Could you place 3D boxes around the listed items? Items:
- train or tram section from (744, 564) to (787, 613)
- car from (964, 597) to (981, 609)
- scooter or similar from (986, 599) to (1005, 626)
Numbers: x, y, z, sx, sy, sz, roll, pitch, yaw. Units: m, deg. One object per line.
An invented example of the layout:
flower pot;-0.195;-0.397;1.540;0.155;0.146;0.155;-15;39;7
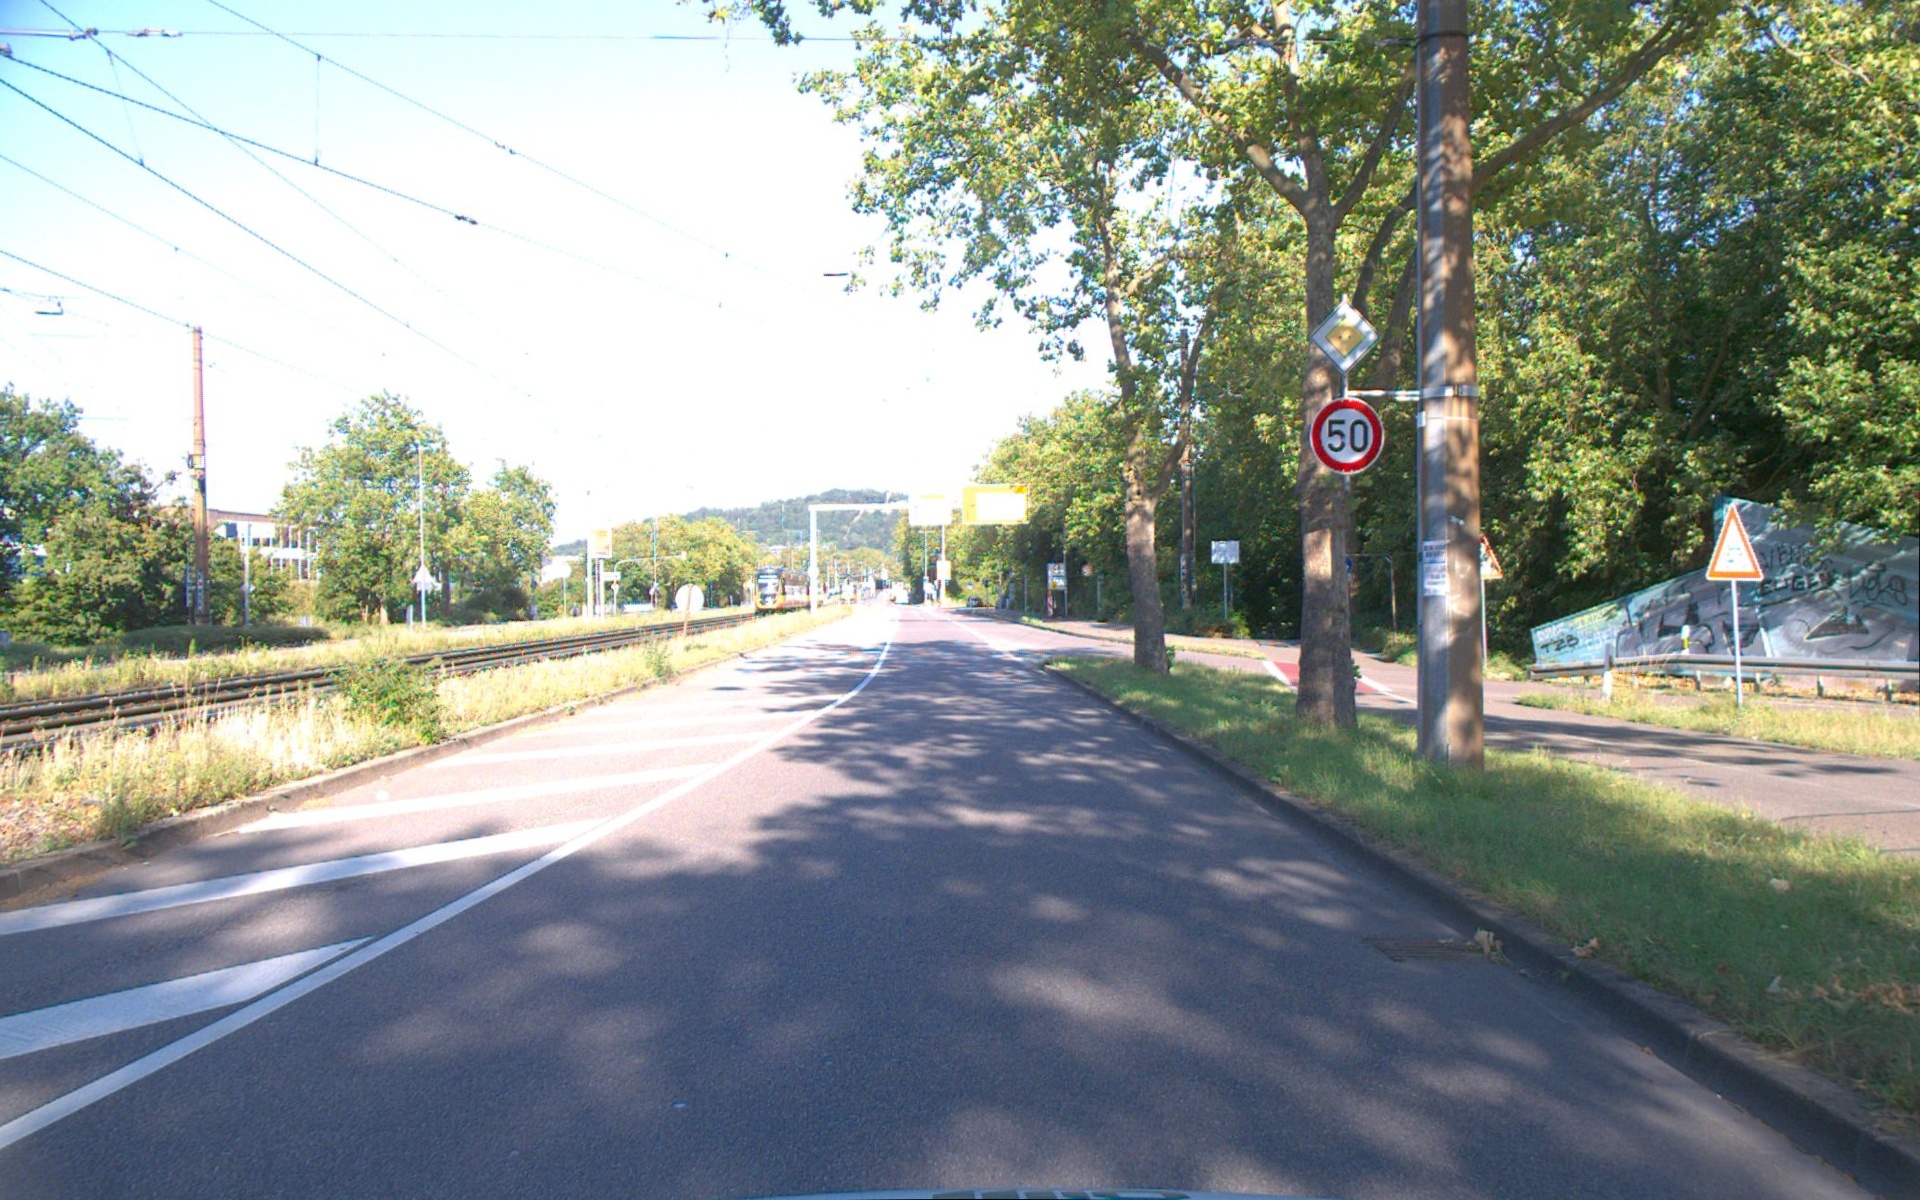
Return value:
train or tram section;-16.307;-0.914;139.484;2.748;3.971;12.325;0;0;-3
car;1.680;0.363;223.807;2.042;1.593;3.957;0;0;4
scooter or similar;3.631;1.251;169.854;1.647;2.763;4.867;0;0;-2
